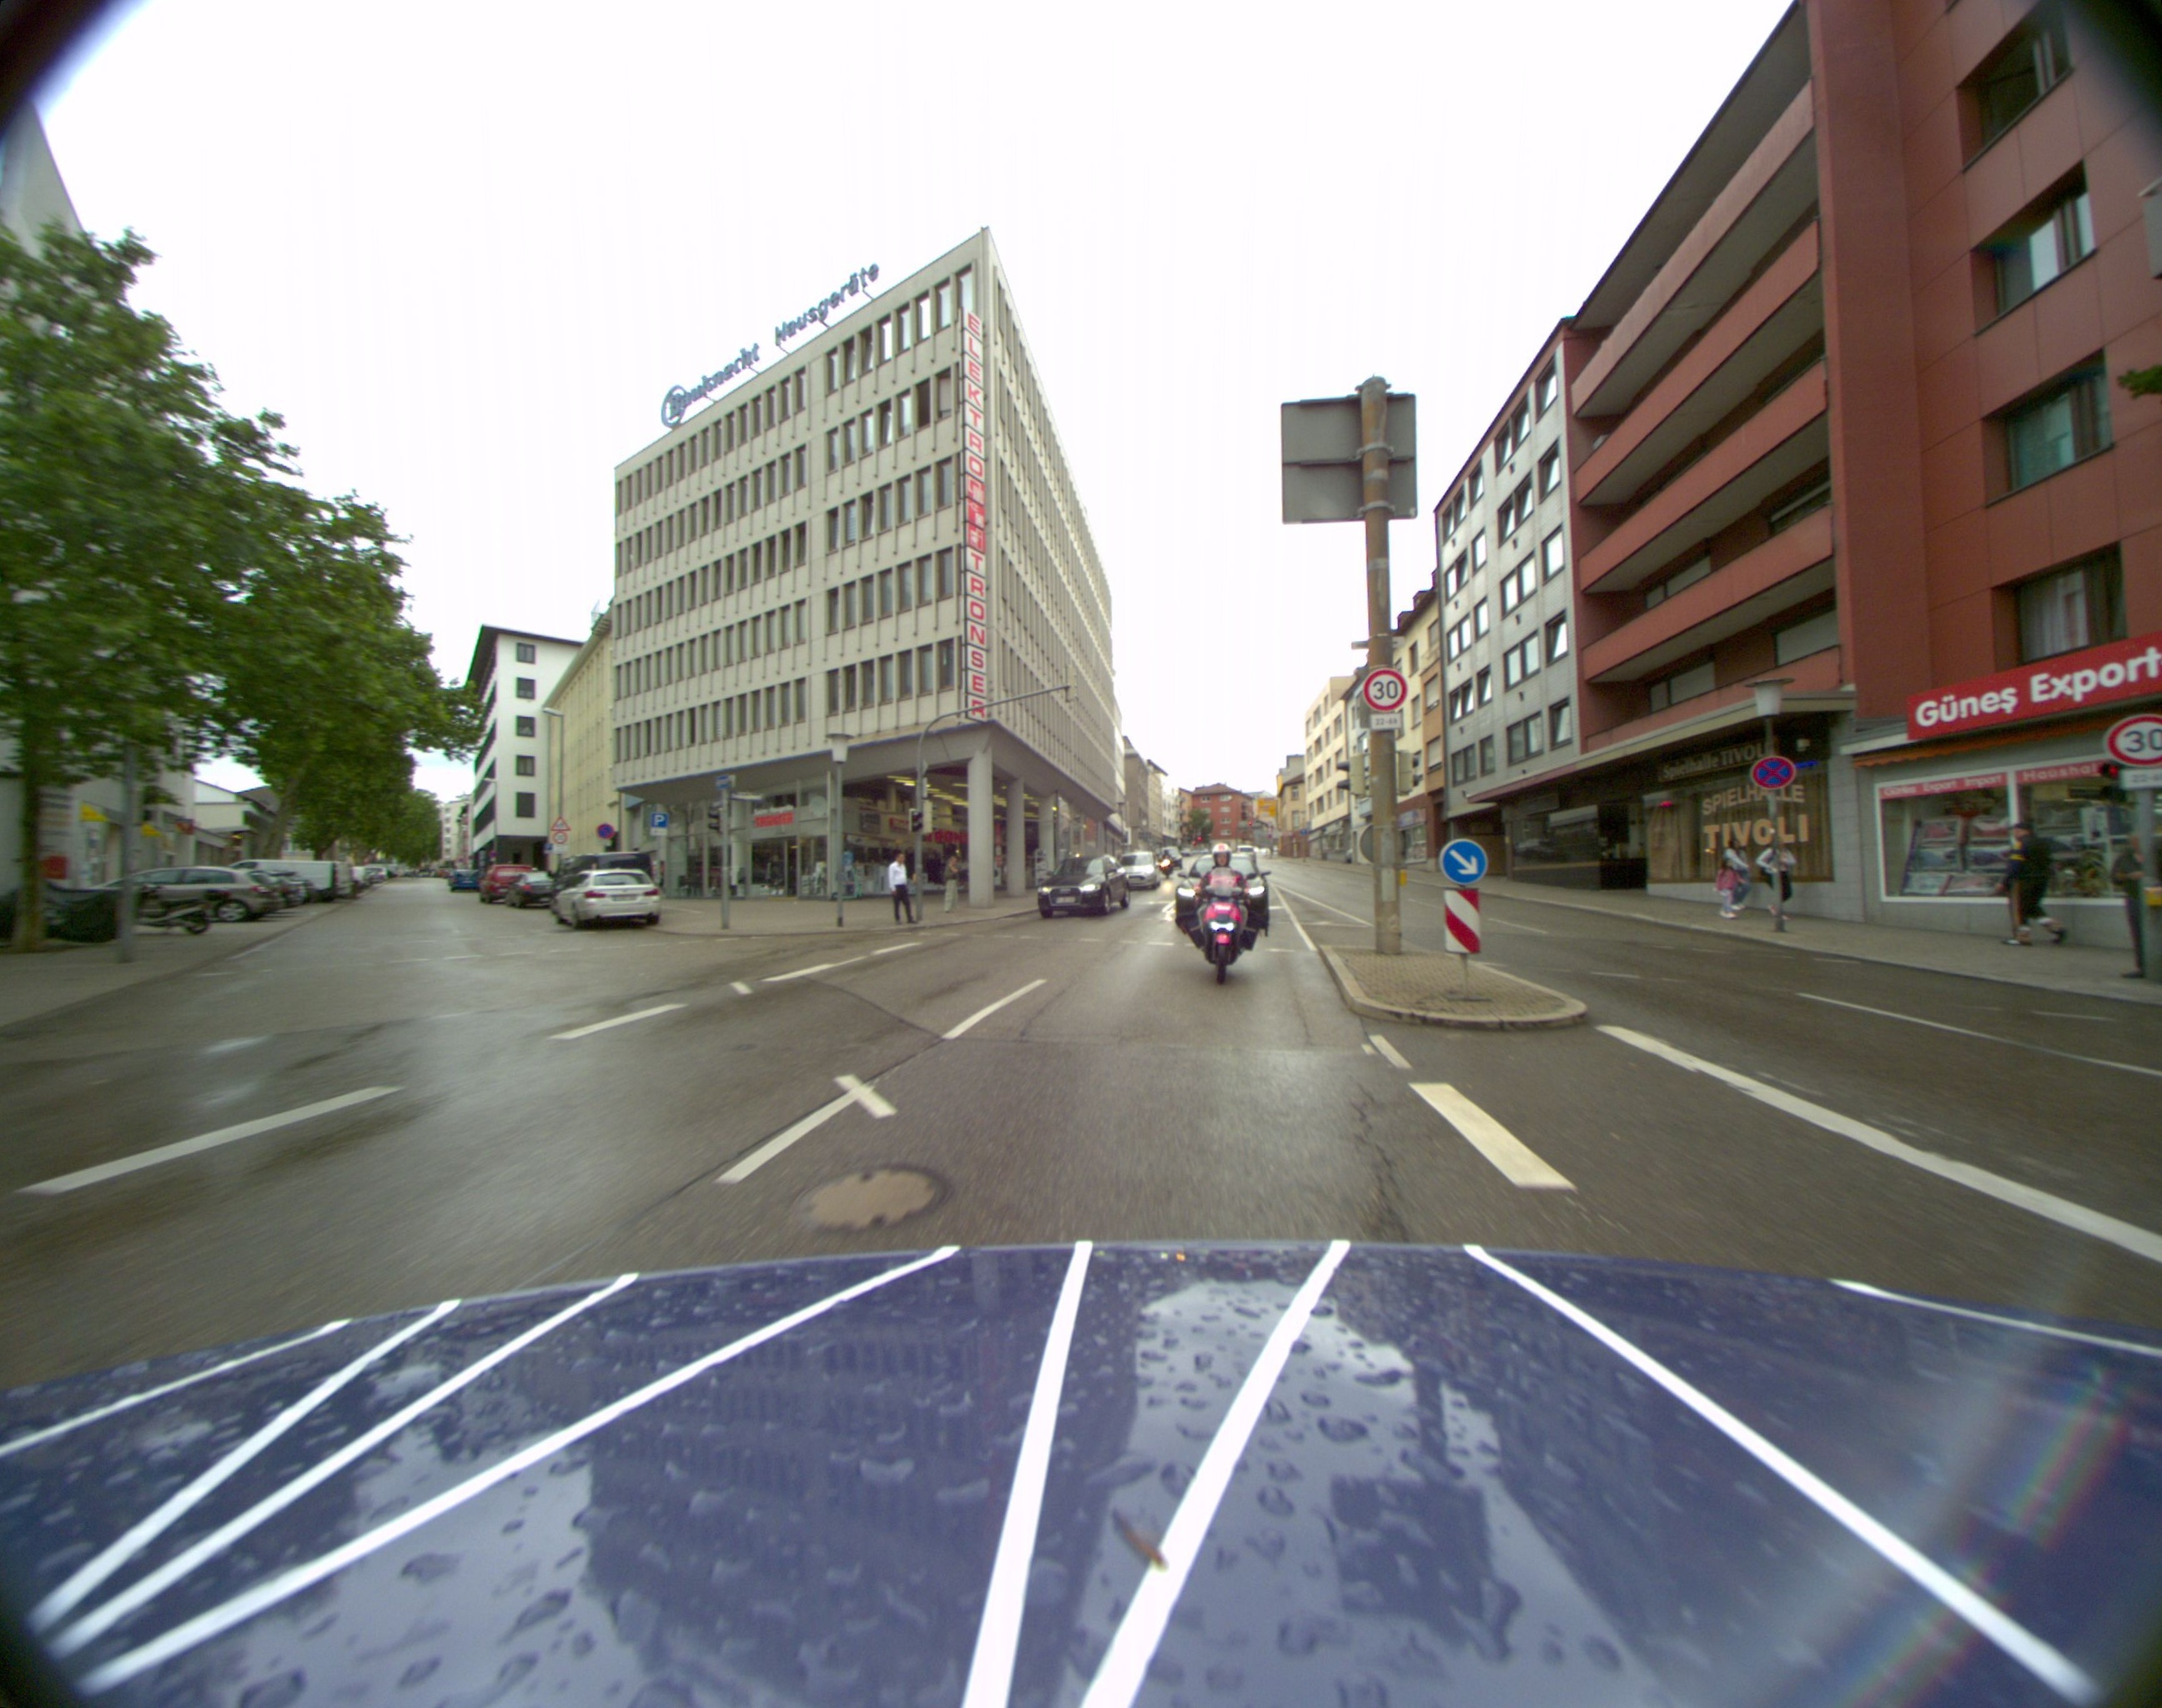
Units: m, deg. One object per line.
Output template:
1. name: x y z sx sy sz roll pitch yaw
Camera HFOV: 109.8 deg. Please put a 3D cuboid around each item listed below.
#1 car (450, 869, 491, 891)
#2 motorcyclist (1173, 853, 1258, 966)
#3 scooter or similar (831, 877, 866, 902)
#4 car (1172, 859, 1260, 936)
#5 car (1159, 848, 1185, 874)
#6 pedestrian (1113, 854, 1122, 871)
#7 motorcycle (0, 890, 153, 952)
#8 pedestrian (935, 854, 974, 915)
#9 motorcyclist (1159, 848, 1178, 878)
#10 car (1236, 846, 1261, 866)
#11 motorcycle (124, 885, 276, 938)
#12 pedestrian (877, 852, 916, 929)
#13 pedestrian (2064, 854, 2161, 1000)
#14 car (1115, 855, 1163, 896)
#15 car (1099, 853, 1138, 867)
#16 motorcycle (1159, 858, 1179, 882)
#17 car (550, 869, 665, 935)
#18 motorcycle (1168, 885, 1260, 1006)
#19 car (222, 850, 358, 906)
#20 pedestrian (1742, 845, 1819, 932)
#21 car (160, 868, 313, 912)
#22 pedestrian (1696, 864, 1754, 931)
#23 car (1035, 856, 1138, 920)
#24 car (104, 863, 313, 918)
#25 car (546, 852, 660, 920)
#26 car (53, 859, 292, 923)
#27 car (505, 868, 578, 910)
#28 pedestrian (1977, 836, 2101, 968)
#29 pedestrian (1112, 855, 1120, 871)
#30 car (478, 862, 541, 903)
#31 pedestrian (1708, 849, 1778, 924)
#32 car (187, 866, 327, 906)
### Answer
1. car: -44.835 1.874 55.760 2.004 1.486 3.988 -1 1 -43
2. motorcyclist: 1.707 0.671 9.660 1.009 1.373 0.835 0 1 10
3. scooter or similar: -8.242 1.256 26.922 1.128 0.819 0.307 -1 0 -40
4. car: 3.146 0.918 17.668 1.704 1.451 4.322 -3 0 10
5. car: 6.989 0.526 58.049 1.847 1.892 3.767 -1 0 7
6. pedestrian: 3.661 0.814 75.630 0.785 1.696 1.121 1 1 5
7. motorcycle: -19.447 1.282 14.579 1.946 1.109 0.627 4 -3 -38
8. pedestrian: -3.625 0.861 21.766 0.721 1.680 0.831 2 2 30
9. motorcyclist: 4.777 0.479 41.516 0.846 1.580 0.963 -4 0 3
10. car: 14.511 0.130 65.829 1.738 1.584 4.177 1 1 8
11. motorcycle: -19.797 1.305 17.138 2.095 1.109 0.628 4 -2 -27
12. pedestrian: -4.537 0.879 18.698 0.723 1.808 0.830 1 2 2
13. pedestrian: 12.499 0.853 9.131 0.555 1.687 0.624 -1 1 5
14. car: 2.508 0.864 32.652 1.830 1.532 4.253 -5 0 5
15. car: 4.640 0.792 94.582 4.528 1.495 2.002 -3 0 12
16. motorcycle: 4.805 0.850 41.584 0.846 1.218 2.373 -4 0 3
17. car: -12.672 1.172 20.180 1.861 1.486 4.838 -1 0 -40
18. motorcycle: 1.728 1.077 9.838 1.009 1.218 2.696 0 0 10
19. car: -36.124 1.043 34.836 3.854 2.386 1.899 -1 1 -27
20. pedestrian: 14.076 0.678 15.309 0.829 1.680 0.723 -3 1 0
21. car: -33.204 1.364 30.002 3.692 1.544 1.625 -1 1 -19
22. pedestrian: 13.402 0.895 15.816 0.534 1.315 0.723 -3 1 0
23. car: 0.277 0.872 21.205 1.826 1.551 4.206 -2 0 15
24. car: -26.772 1.137 23.508 3.849 1.544 1.624 3 -1 -28
25. car: -15.792 0.961 24.997 4.792 1.986 1.965 0 1 43
26. car: -25.212 1.067 21.330 3.945 1.625 1.623 4 -3 -35
27. car: -21.997 1.378 30.909 1.846 1.486 4.123 -2 1 -43
28. pedestrian: 14.013 0.677 11.138 0.763 1.838 0.843 -1 1 -5
29. pedestrian: 3.421 0.892 74.323 0.767 1.542 0.891 1 1 5
30. car: -26.923 1.306 35.744 1.891 1.754 3.988 -2 1 -43
31. pedestrian: 14.475 0.692 16.638 0.829 1.551 0.723 -3 1 0
32. car: -34.936 1.347 32.327 3.692 1.544 1.626 -1 -2 -19
